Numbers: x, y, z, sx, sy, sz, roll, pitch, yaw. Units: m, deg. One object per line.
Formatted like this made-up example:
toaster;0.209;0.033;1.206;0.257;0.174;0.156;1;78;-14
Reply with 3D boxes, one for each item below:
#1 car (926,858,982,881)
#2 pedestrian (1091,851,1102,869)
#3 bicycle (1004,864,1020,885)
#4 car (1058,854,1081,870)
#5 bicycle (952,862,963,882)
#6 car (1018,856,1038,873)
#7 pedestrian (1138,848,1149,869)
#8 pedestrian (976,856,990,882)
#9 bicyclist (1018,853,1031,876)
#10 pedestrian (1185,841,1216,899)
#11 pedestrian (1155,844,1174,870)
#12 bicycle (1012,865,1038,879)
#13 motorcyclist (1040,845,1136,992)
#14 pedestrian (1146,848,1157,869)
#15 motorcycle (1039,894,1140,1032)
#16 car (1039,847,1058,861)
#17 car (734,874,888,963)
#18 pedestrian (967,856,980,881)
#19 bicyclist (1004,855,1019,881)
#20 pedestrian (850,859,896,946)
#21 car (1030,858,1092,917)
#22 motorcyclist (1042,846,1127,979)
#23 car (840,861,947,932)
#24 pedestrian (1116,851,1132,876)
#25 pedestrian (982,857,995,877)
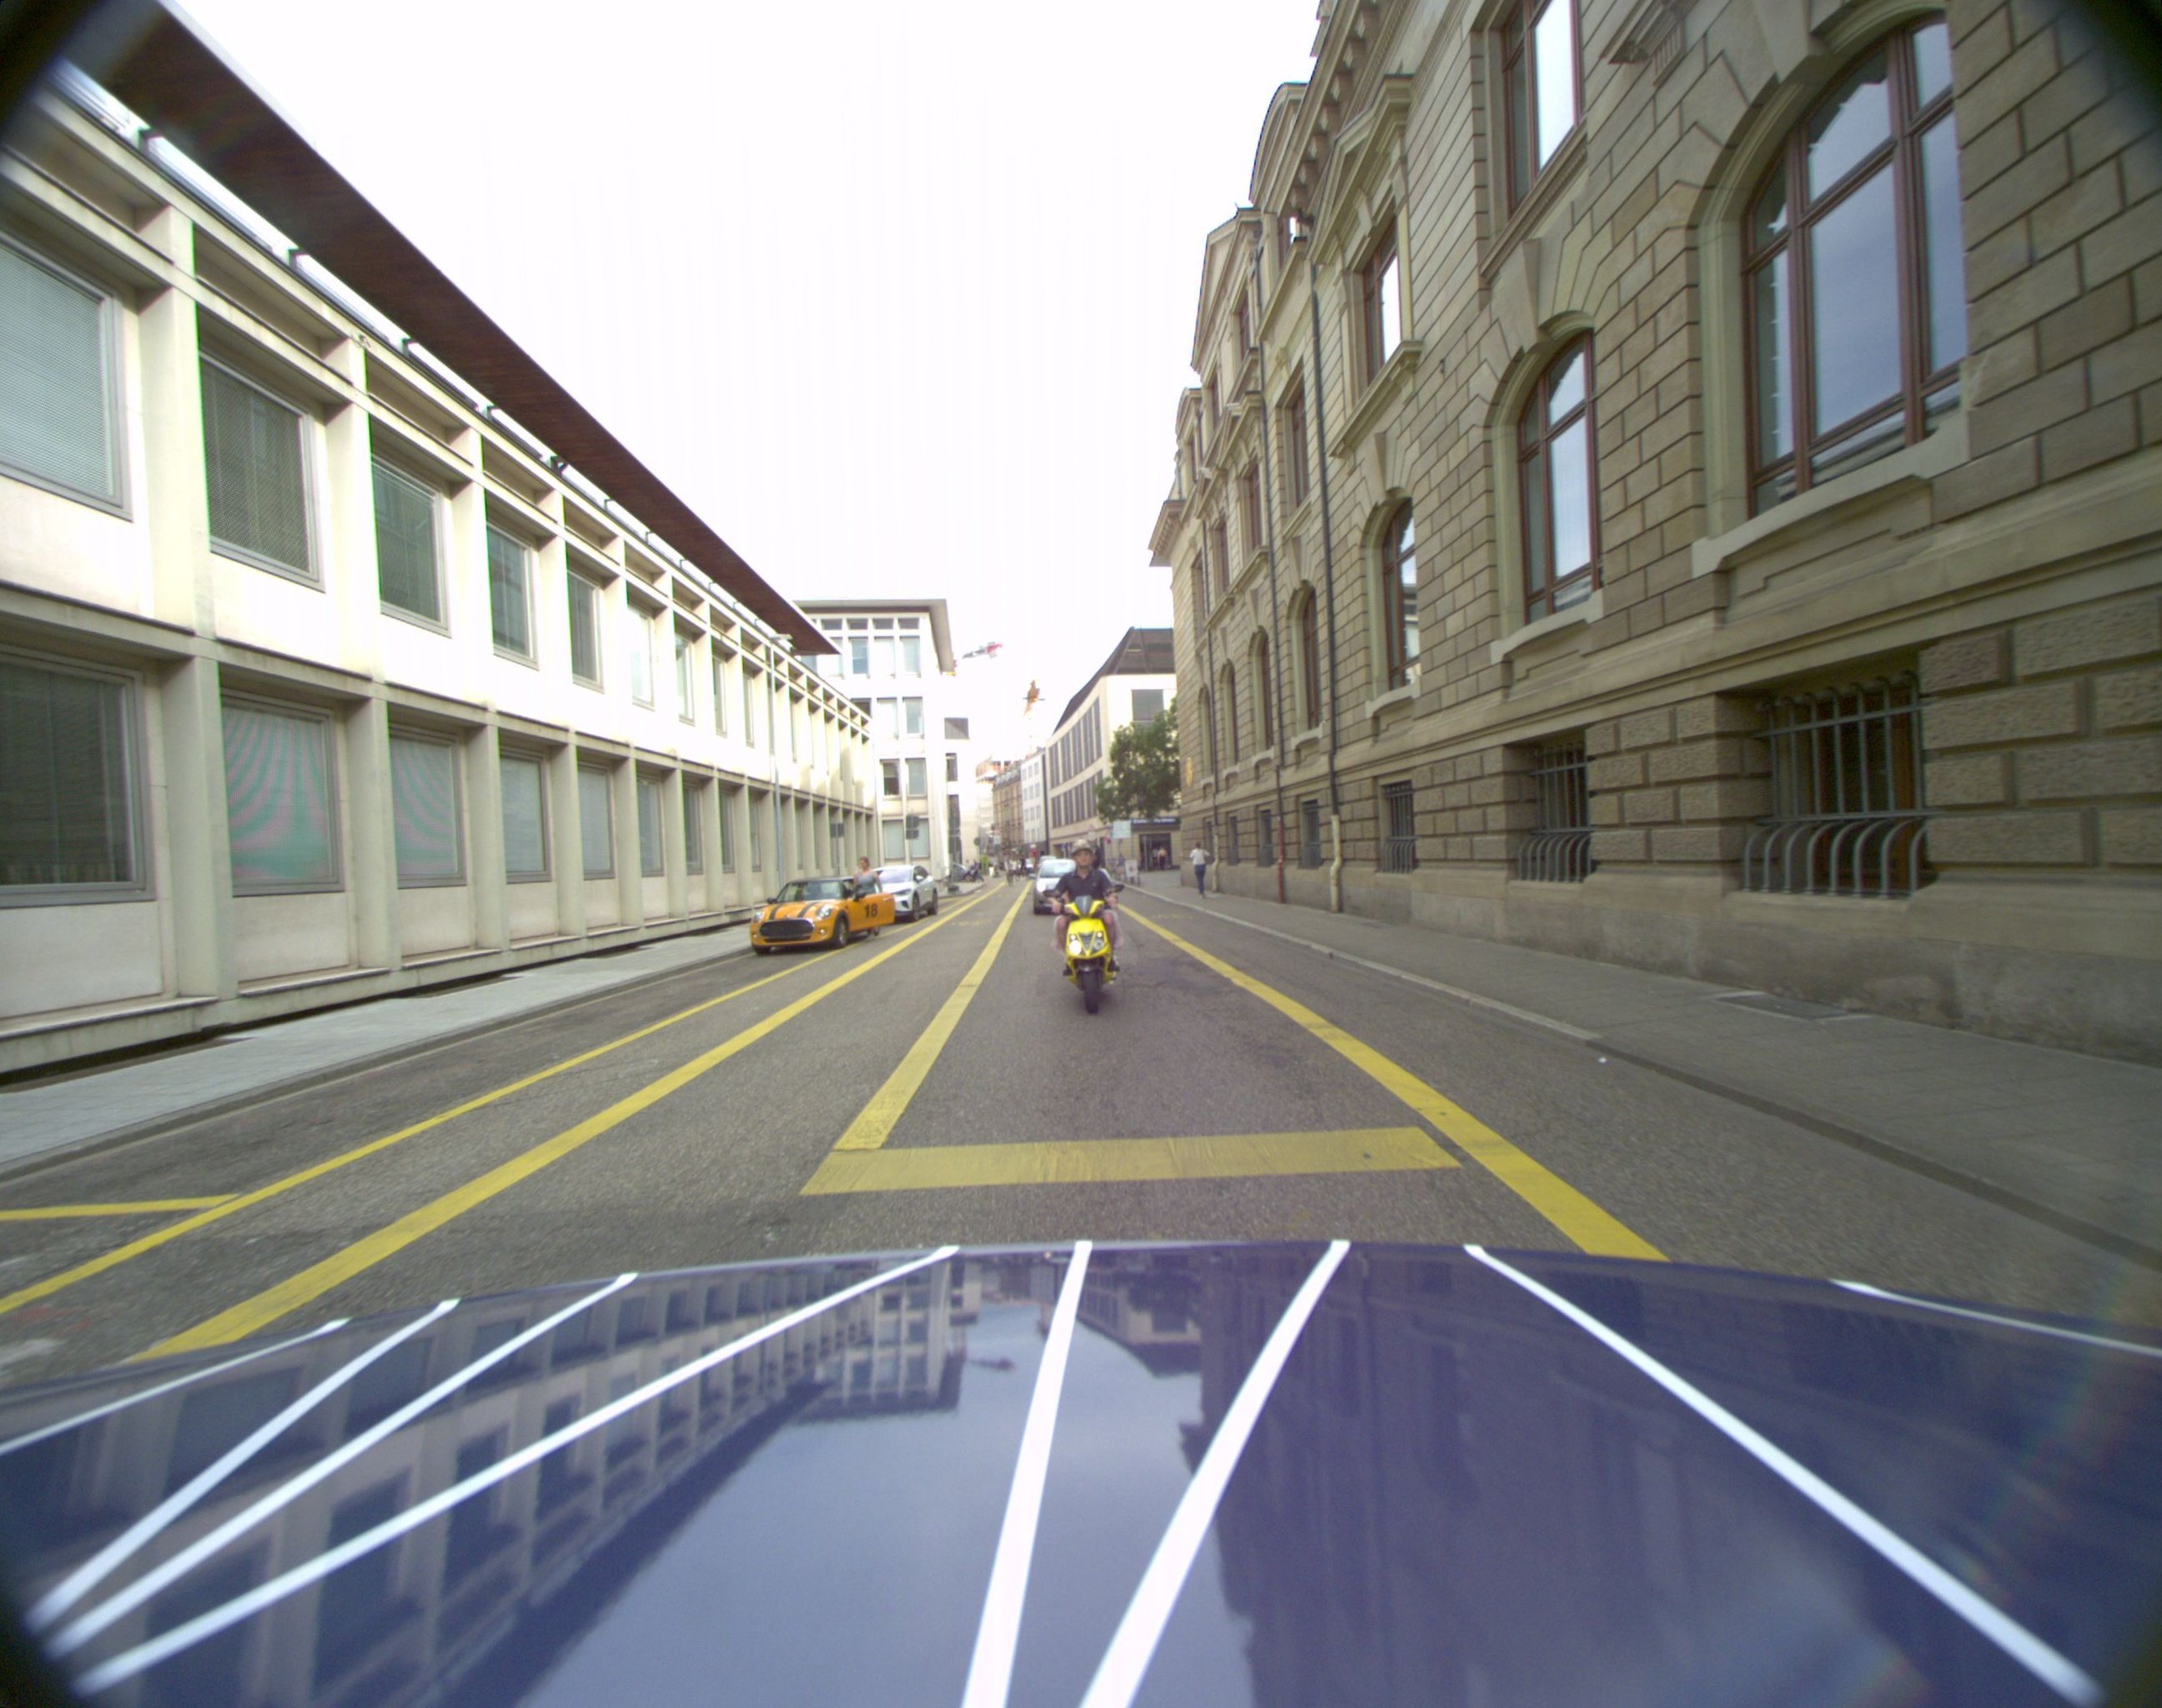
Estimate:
car;-10.049;1.180;60.273;4.194;1.581;1.814;-3;1;-5
pedestrian;1.487;0.584;73.274;0.879;1.699;0.910;-6;2;-4
bicycle;-4.344;1.244;47.878;0.871;1.188;2.862;-3;1;-4
car;-1.145;0.780;76.317;1.564;1.547;4.099;-3;1;-11
bicycle;-7.868;1.146;48.453;0.590;1.161;1.813;-3;1;-8
car;-5.457;1.070;77.874;1.564;1.547;4.099;-3;1;-11
pedestrian;5.454;0.405;66.447;0.648;1.820;0.860;-3;1;-16
pedestrian;-7.143;1.067;55.223;0.746;1.804;0.755;-7;2;-15
bicyclist;-4.095;0.764;54.945;0.644;1.610;0.622;-5;0;-18
pedestrian;3.886;0.493;24.749;0.665;1.809;1.047;-4;1;-3
pedestrian;5.812;0.188;52.910;1.029;1.710;0.818;-6;1;-3
bicycle;-4.077;1.336;54.954;1.726;0.829;0.601;-5;-1;-18
motorcyclist;0.049;0.641;8.095;0.924;1.445;1.065;-1;0;-3
pedestrian;6.180;0.371;66.649;0.648;1.820;0.860;-3;1;-16
motorcycle;0.054;1.079;8.214;0.930;1.159;2.126;-1;1;-2
car;-3.923;0.006;90.438;1.564;1.547;4.099;-3;1;-11
car;-5.433;1.228;15.836;1.684;1.426;3.886;-4;0;0
pedestrian;-7.896;1.084;55.713;0.644;1.755;0.653;-7;2;-15
bicyclist;-4.361;0.874;47.790;0.892;1.585;0.877;-3;1;-4
pedestrian;-4.403;1.012;16.149;0.705;1.753;0.700;-2;1;0
car;-0.581;0.895;22.017;1.562;1.482;3.784;-3;0;-1
motorcyclist;0.025;0.641;8.690;0.904;1.445;0.742;-1;0;-2
car;-5.366;1.155;22.414;1.865;1.596;4.511;-6;1;0
pedestrian;3.233;0.687;57.307;0.775;1.820;0.860;-3;1;-23
pedestrian;-8.247;1.173;67.845;0.655;1.755;0.642;-8;2;-40
